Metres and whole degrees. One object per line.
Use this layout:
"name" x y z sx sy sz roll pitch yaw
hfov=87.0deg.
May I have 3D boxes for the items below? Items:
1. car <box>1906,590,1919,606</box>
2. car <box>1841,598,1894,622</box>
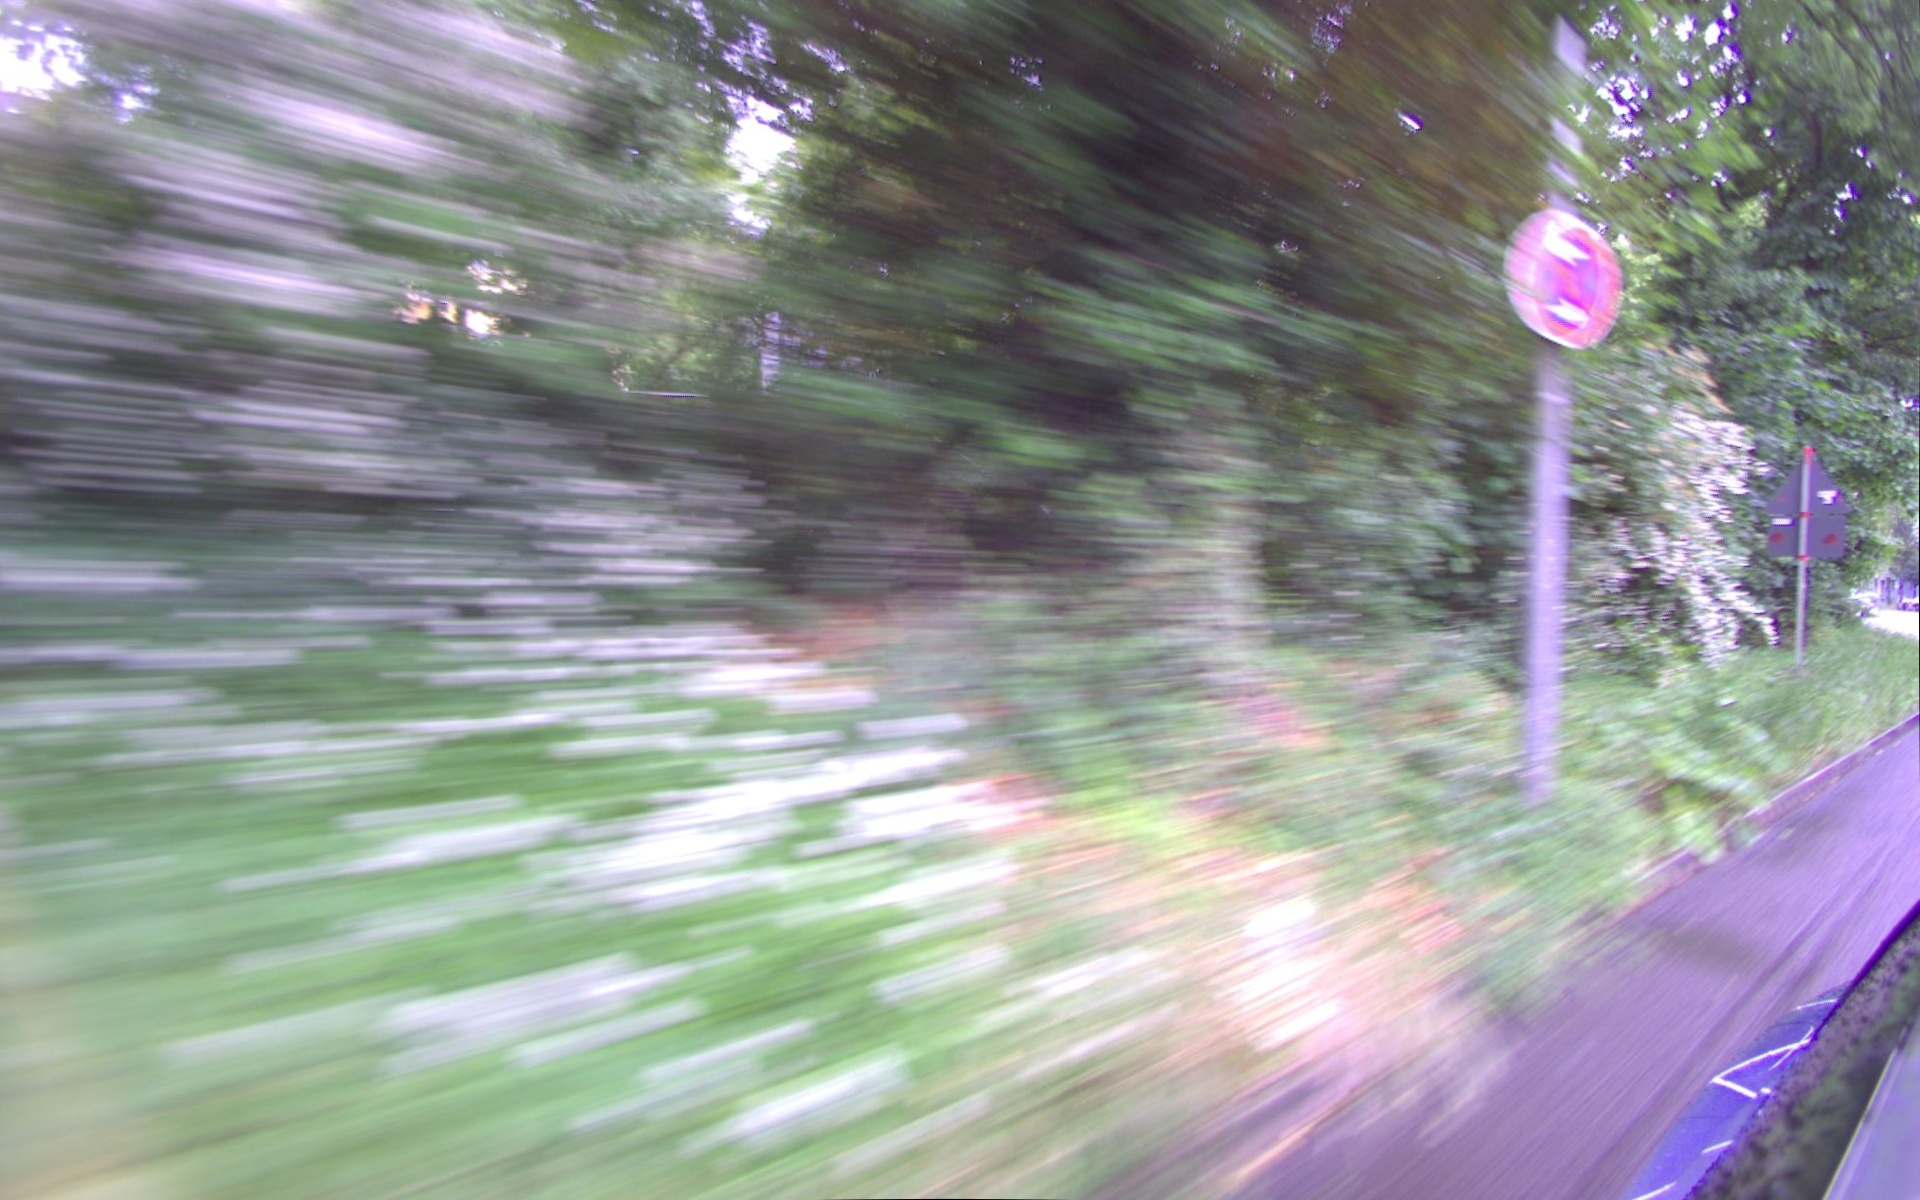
"car" 101.330 -0.222 106.590 1.858 1.620 4.120 2 2 36
"car" 61.325 0.622 68.449 1.986 1.482 3.953 2 2 33
